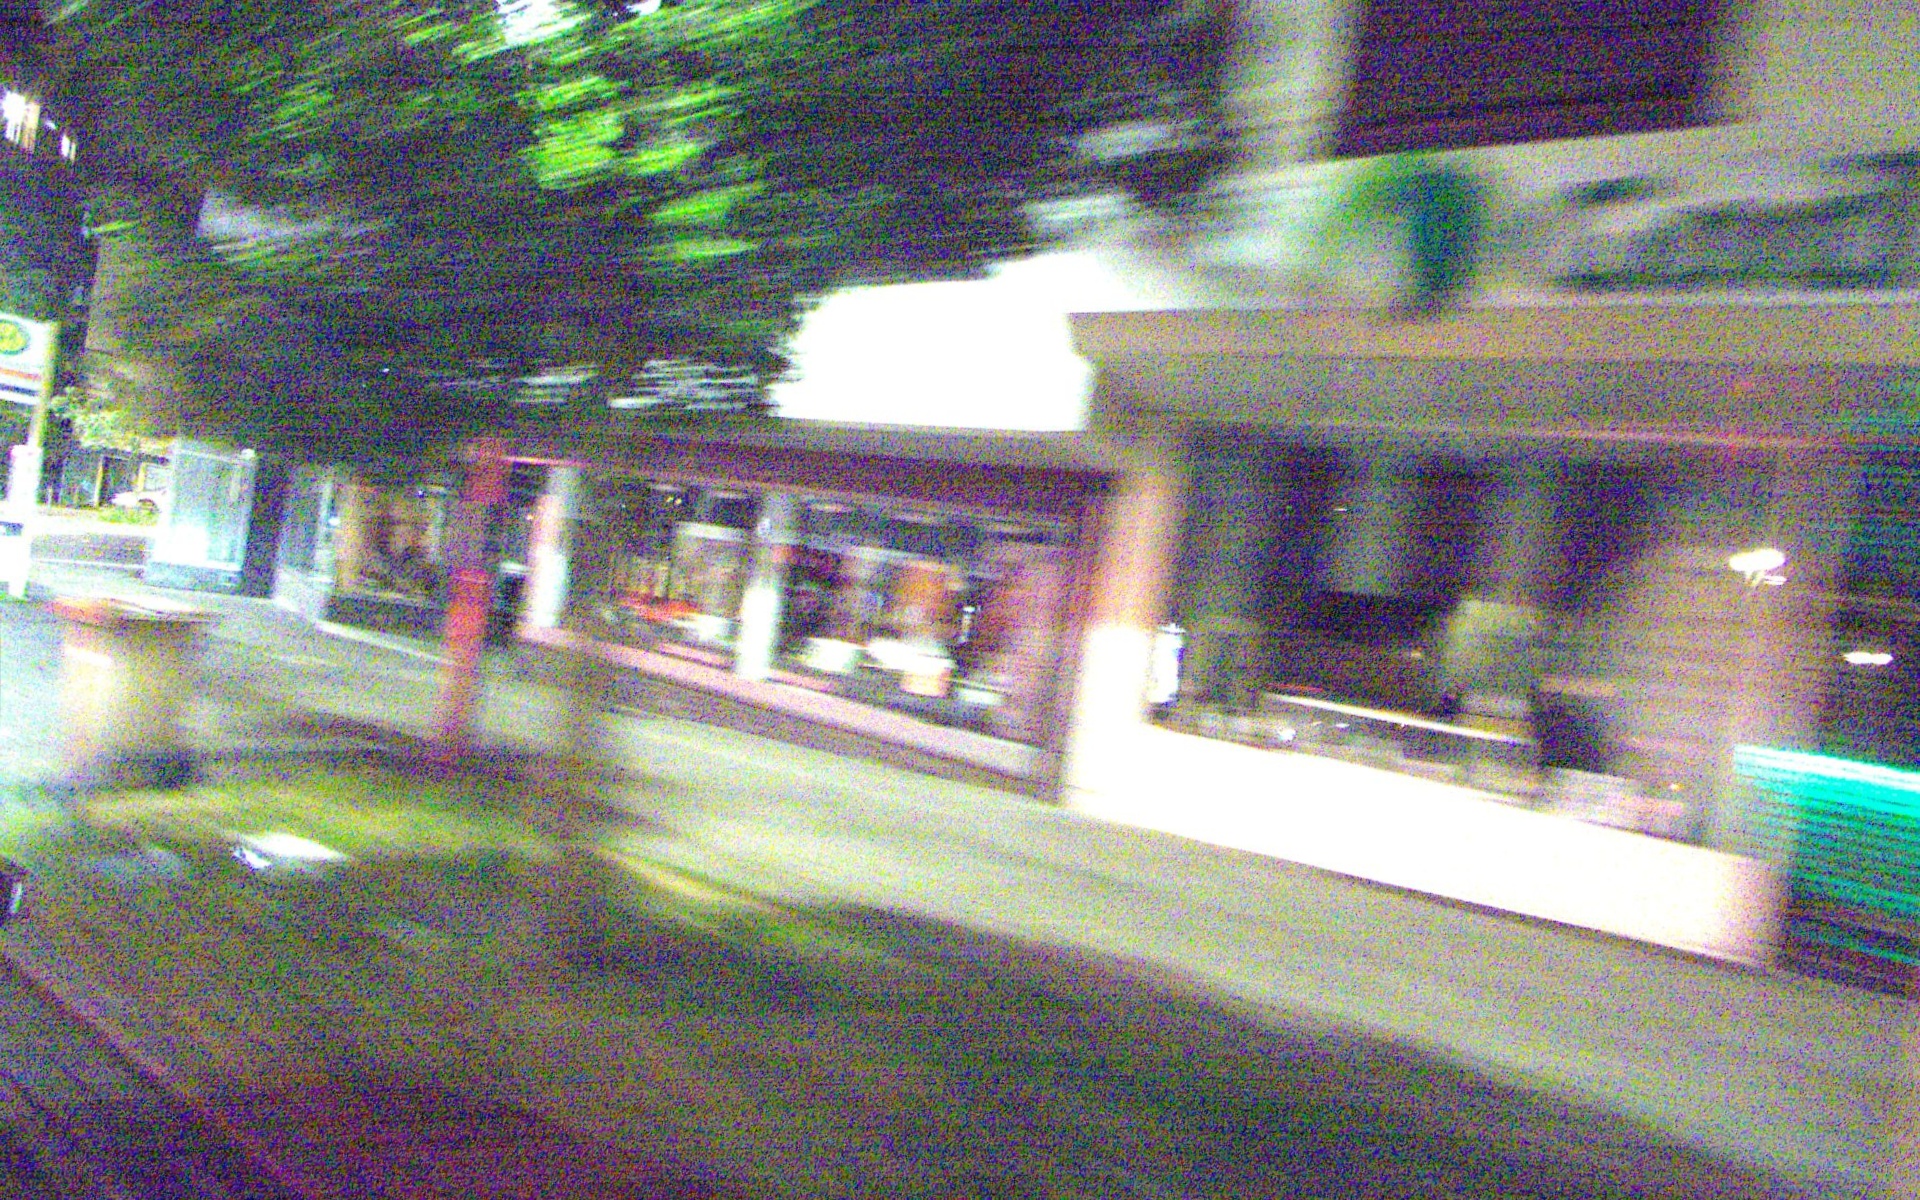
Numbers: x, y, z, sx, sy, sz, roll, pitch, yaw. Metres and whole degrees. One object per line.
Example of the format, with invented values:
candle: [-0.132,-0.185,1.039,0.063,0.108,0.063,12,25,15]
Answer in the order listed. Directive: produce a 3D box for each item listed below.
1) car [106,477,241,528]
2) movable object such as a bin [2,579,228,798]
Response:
car: [-32.236,-3.987,41.317,1.799,1.471,4.036,8,2,39]
movable object such as a bin: [-4.130,0.423,4.936,0.618,0.947,0.526,6,-2,21]
